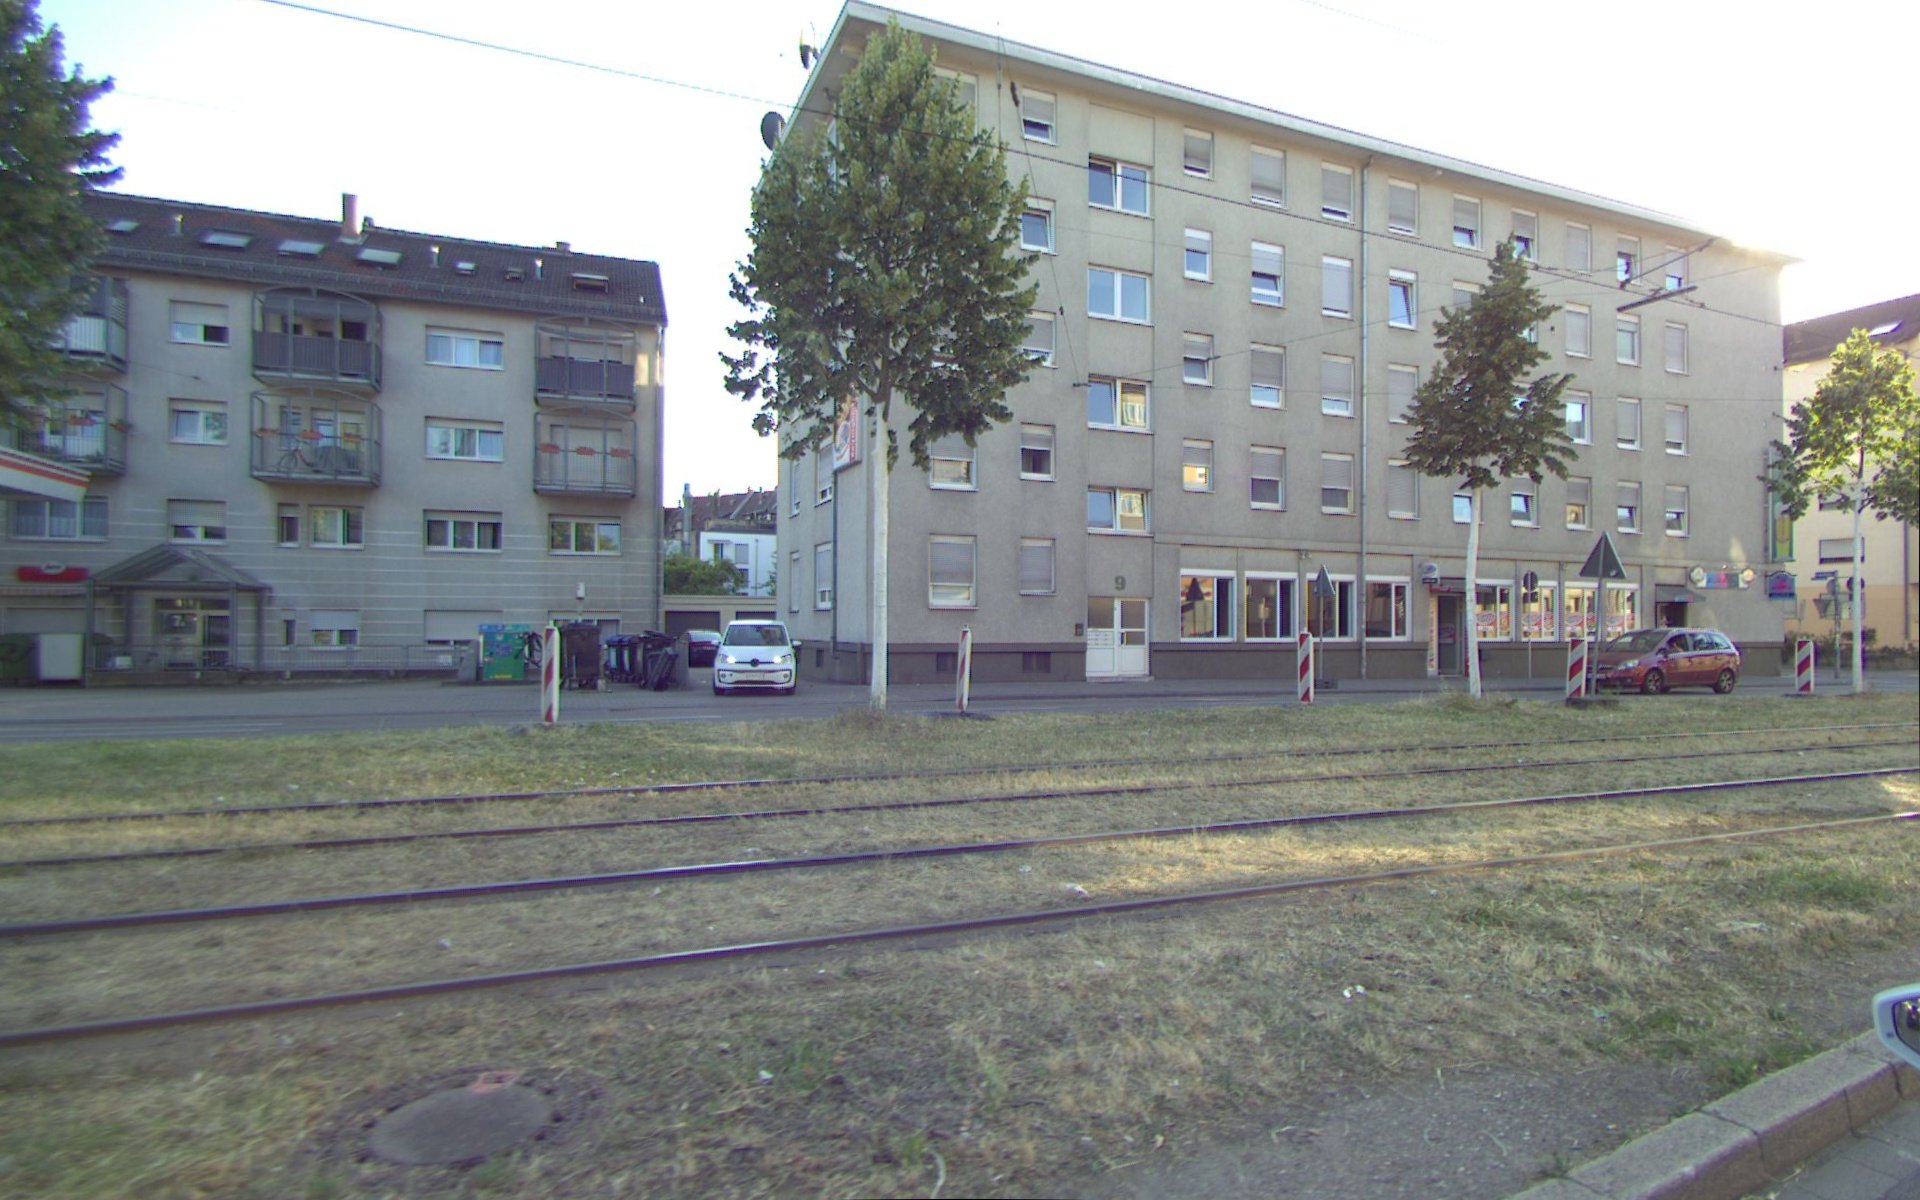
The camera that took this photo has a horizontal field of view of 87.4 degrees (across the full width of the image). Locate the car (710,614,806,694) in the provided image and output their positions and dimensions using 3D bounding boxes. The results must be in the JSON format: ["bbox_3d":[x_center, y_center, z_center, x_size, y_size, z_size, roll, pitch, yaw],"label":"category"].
[{"bbox_3d":[-4.263,1.122,21.232,1.786,1.532,3.822,1,-2,-11],"label":"car"}]

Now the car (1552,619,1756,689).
[{"bbox_3d":[17.559,1.358,25.403,4.861,1.581,1.809,2,0,-21],"label":"car"}]

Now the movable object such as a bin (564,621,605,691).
[{"bbox_3d":[-7.760,1.150,20.744,0.738,1.419,0.661,1,-2,-24],"label":"movable object such as a bin"}]

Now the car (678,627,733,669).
[{"bbox_3d":[-10.089,1.850,39.642,1.790,1.437,3.923,2,0,-19],"label":"car"}]
